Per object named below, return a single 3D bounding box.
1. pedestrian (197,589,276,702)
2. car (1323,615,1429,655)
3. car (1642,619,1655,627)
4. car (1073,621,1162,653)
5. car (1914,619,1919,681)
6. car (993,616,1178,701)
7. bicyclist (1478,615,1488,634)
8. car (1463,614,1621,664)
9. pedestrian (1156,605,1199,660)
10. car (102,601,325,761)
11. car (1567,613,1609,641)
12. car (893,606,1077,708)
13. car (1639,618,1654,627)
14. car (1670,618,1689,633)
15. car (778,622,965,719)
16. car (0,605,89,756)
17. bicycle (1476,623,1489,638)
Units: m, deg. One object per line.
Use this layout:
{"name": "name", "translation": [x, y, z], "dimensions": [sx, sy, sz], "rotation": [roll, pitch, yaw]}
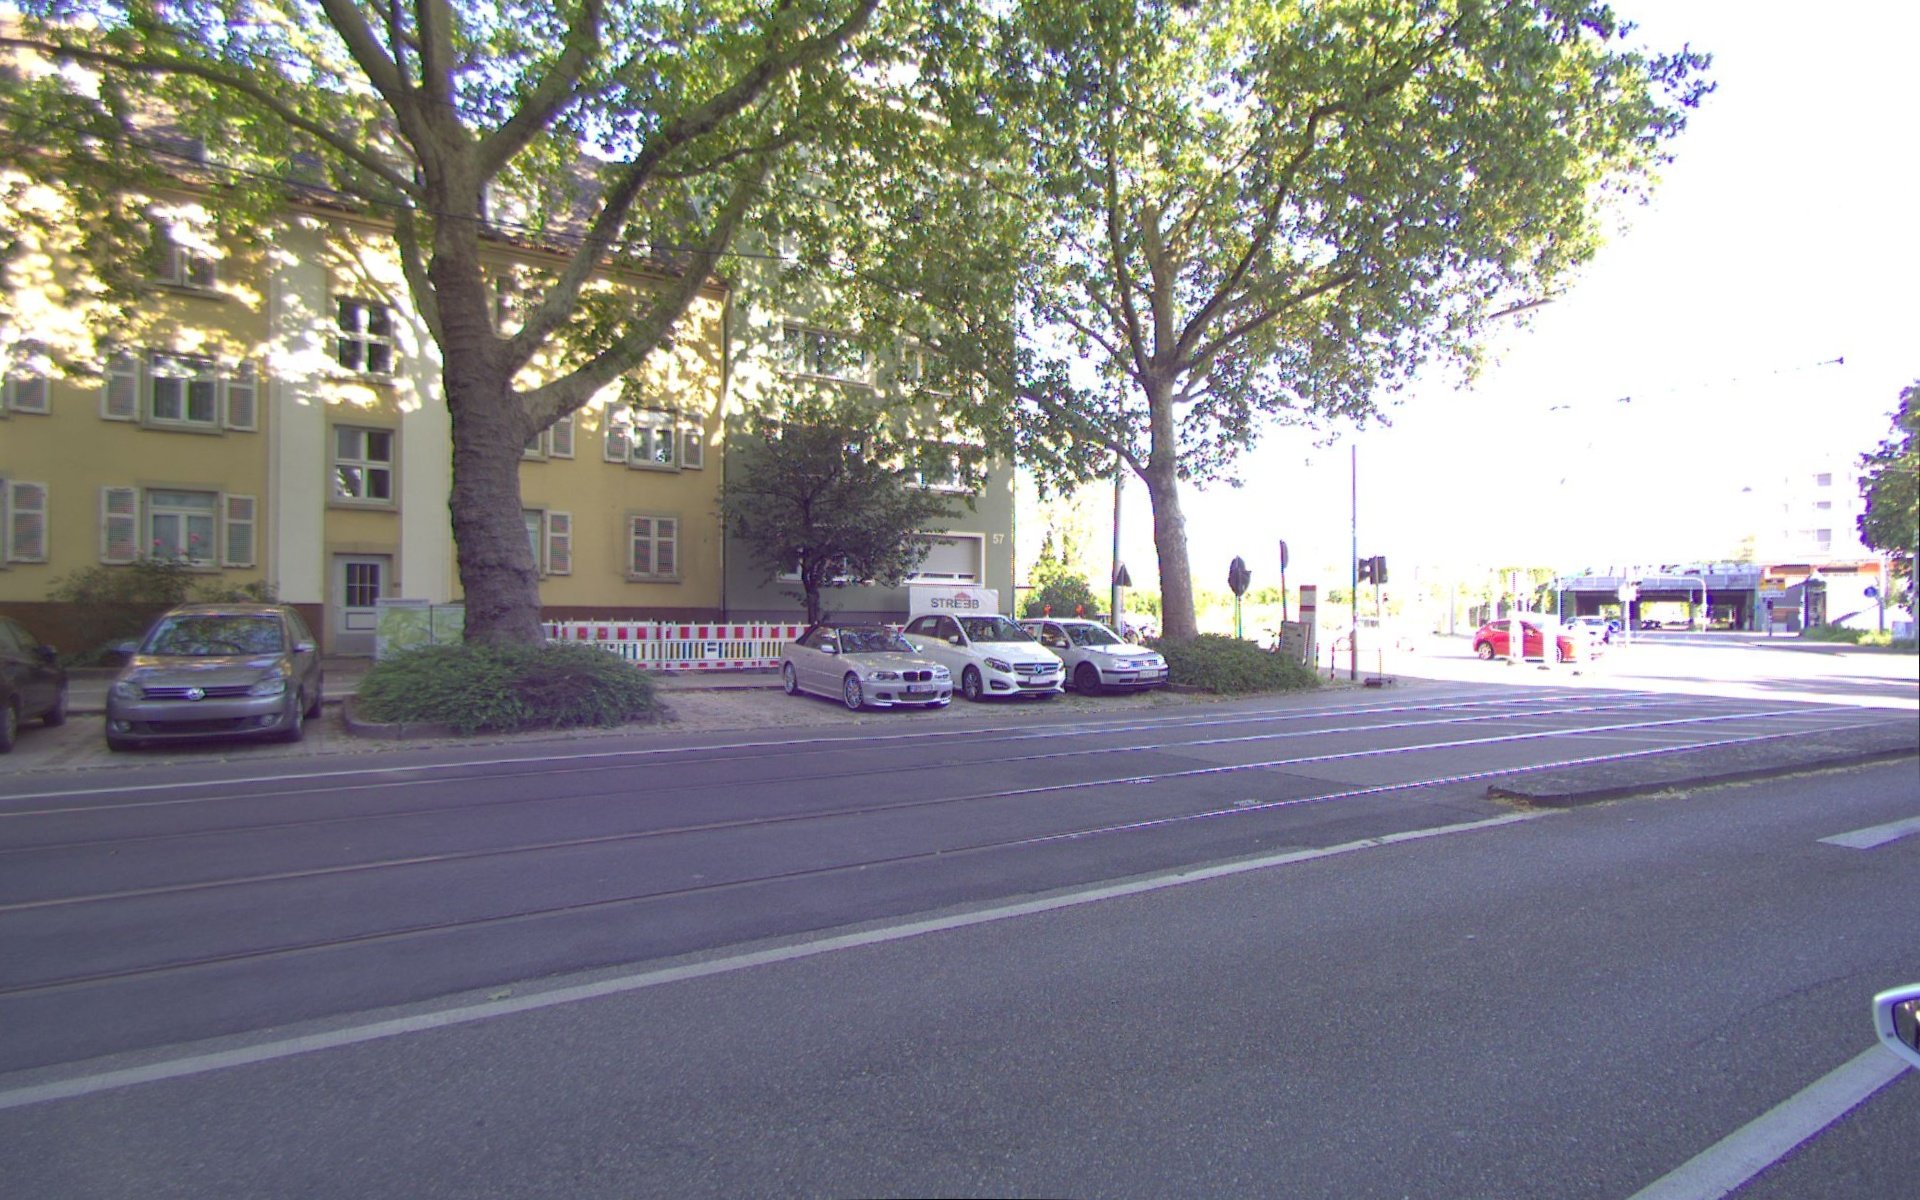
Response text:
{"name": "pedestrian", "translation": [-11.238, 0.692, 15.637], "dimensions": [0.946, 1.683, 0.767], "rotation": [2, 0, -35]}
{"name": "car", "translation": [18.563, 1.538, 44.874], "dimensions": [4.122, 1.572, 1.994], "rotation": [2, 0, 31]}
{"name": "car", "translation": [117.301, 3.941, 171.063], "dimensions": [1.555, 1.277, 3.421], "rotation": [0, -1, 30]}
{"name": "car", "translation": [8.067, 1.861, 51.537], "dimensions": [4.133, 1.539, 1.799], "rotation": [0, 0, 32]}
{"name": "car", "translation": [24.798, 1.203, 22.431], "dimensions": [1.912, 1.493, 4.713], "rotation": [1, -1, -24]}
{"name": "car", "translation": [2.449, 1.116, 20.533], "dimensions": [1.651, 1.473, 3.949], "rotation": [1, 0, -31]}
{"name": "bicyclist", "translation": [34.257, 1.605, 65.814], "dimensions": [0.519, 1.239, 0.527], "rotation": [0, 0, 39]}
{"name": "car", "translation": [20.103, 1.309, 34.894], "dimensions": [1.995, 1.586, 4.465], "rotation": [1, -1, -24]}
{"name": "pedestrian", "translation": [6.756, 0.994, 31.216], "dimensions": [0.919, 1.669, 0.841], "rotation": [2, 0, -30]}
{"name": "car", "translation": [-8.990, 0.839, 12.420], "dimensions": [1.652, 1.602, 3.953], "rotation": [1, 0, -29]}
{"name": "car", "translation": [39.337, 1.683, 62.886], "dimensions": [1.860, 1.606, 3.823], "rotation": [2, 0, 37]}
{"name": "car", "translation": [0.359, 0.989, 19.159], "dimensions": [1.651, 1.669, 3.949], "rotation": [1, 0, -31]}
{"name": "car", "translation": [100.826, 3.315, 147.586], "dimensions": [1.555, 1.277, 3.421], "rotation": [0, -1, 30]}
{"name": "car", "translation": [83.517, 2.981, 116.677], "dimensions": [1.731, 1.706, 3.729], "rotation": [2, 0, 36]}
{"name": "car", "translation": [-1.641, 1.115, 17.314], "dimensions": [1.651, 1.370, 3.949], "rotation": [1, 0, -31]}
{"name": "car", "translation": [-11.456, 0.840, 11.389], "dimensions": [1.652, 1.518, 3.778], "rotation": [1, 0, -29]}
{"name": "bicycle", "translation": [34.217, 1.987, 65.772], "dimensions": [0.519, 0.995, 1.570], "rotation": [0, -1, 38]}
